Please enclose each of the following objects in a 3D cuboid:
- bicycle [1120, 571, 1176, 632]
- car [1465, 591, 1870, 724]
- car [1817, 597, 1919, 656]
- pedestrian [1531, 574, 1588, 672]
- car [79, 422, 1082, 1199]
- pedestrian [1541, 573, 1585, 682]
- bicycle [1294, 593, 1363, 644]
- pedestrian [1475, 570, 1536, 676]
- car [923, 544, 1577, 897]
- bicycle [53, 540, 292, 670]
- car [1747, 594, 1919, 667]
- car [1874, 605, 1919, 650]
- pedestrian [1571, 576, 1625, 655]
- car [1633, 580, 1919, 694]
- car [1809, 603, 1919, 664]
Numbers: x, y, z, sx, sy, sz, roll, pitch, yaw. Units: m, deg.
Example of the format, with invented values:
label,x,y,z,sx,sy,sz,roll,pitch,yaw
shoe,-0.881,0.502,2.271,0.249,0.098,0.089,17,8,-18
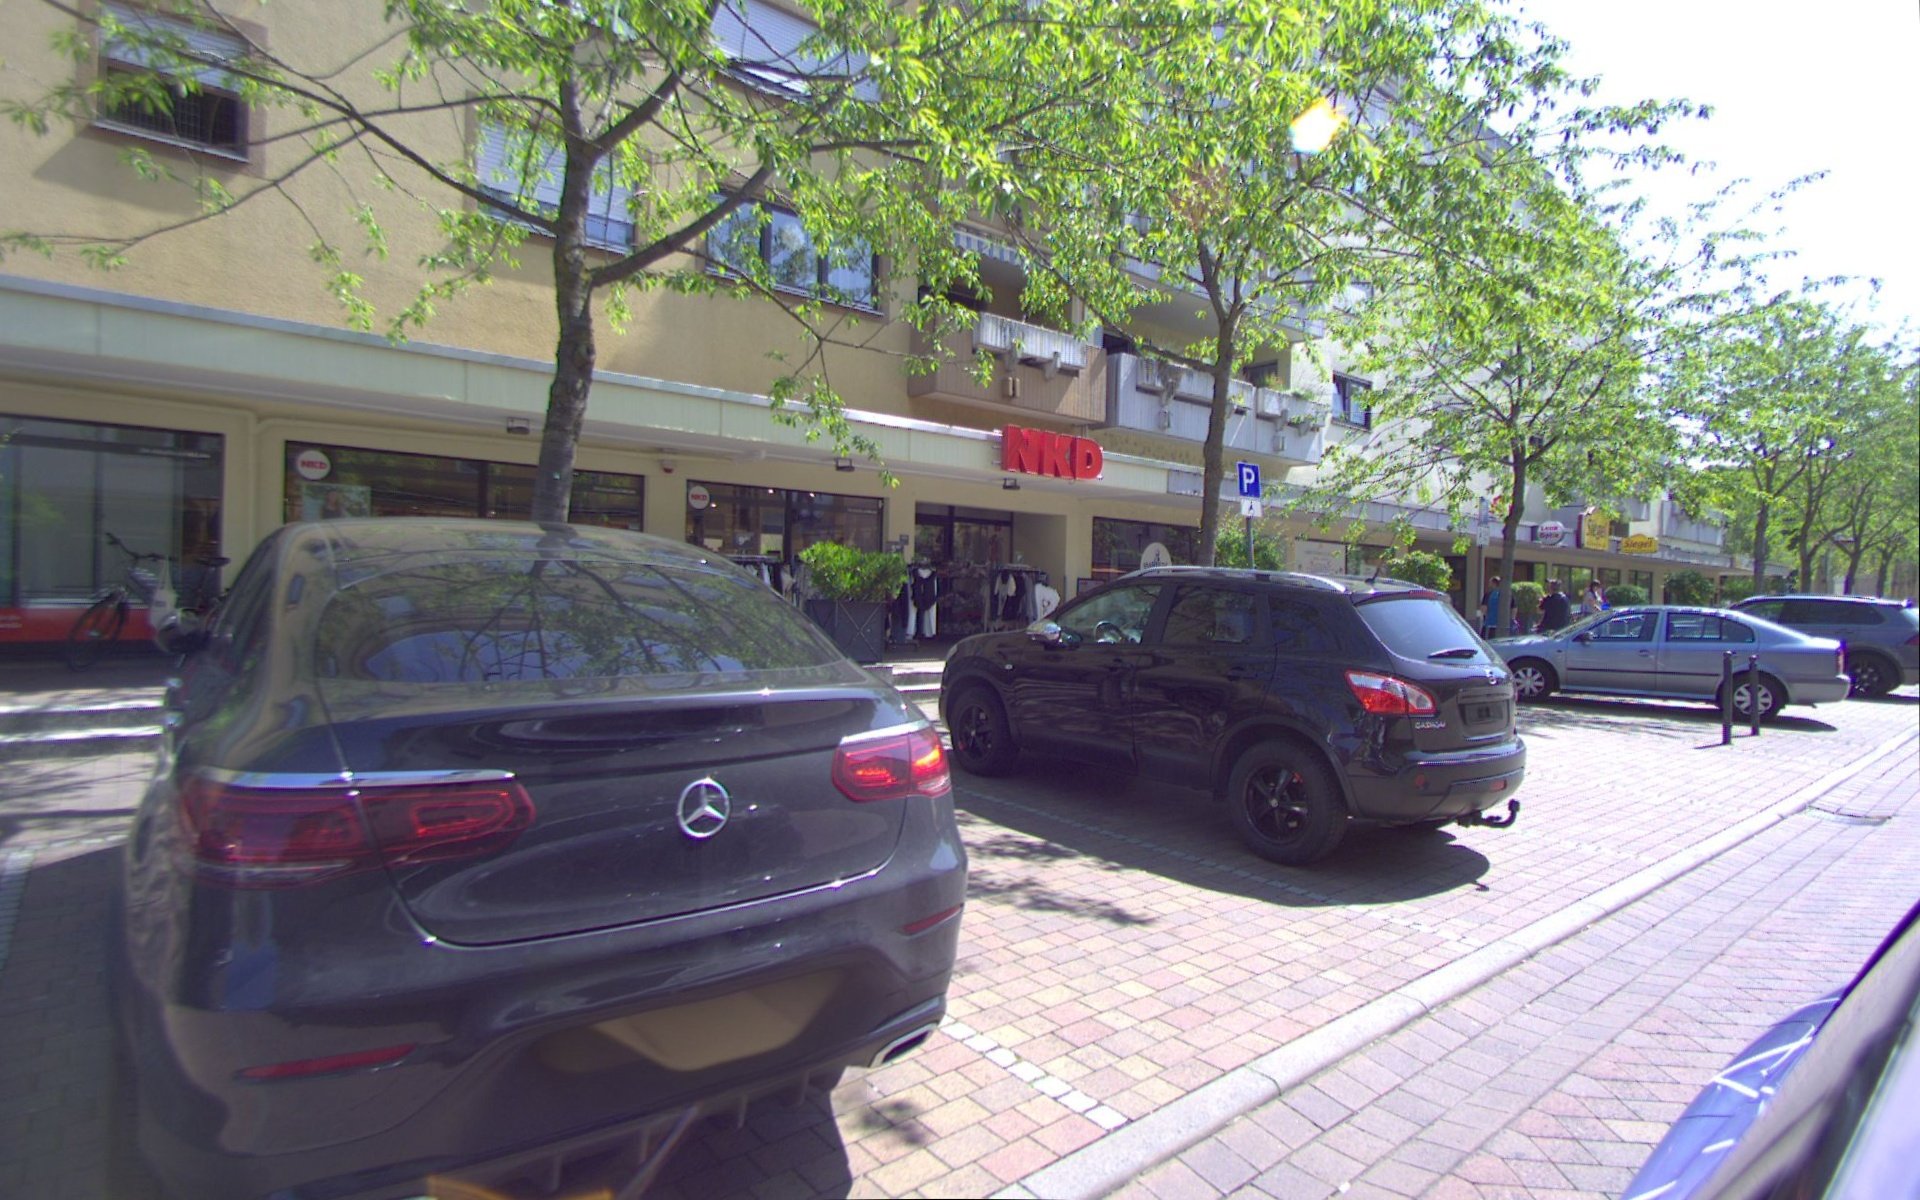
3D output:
label,x,y,z,sx,sy,sz,roll,pitch,yaw
bicycle,3.467,0.027,18.634,0.360,1.081,1.292,0,0,45
car,9.533,0.681,14.125,4.350,1.481,1.871,2,1,30
car,26.603,0.762,28.398,1.604,1.536,3.652,1,2,-39
pedestrian,10.872,0.407,18.374,0.635,1.752,0.617,0,0,-6
car,-1.819,0.476,3.688,1.816,1.608,4.521,1,2,-38
pedestrian,10.378,0.460,17.443,0.600,1.819,0.621,1,0,28
bicycle,8.328,0.400,22.848,1.833,1.095,0.642,0,0,-41
pedestrian,9.512,0.396,17.648,0.673,1.795,0.632,1,0,-6
car,1.632,0.491,6.899,1.651,1.631,4.038,0,3,-39
bicycle,-7.342,0.041,9.518,1.742,1.138,0.413,0,0,-39
car,22.723,0.750,25.217,1.774,1.562,4.586,1,2,-39
car,32.330,0.961,33.098,1.434,1.407,3.401,1,2,-39
pedestrian,14.886,0.351,23.632,0.853,1.803,0.760,1,0,-33
car,14.489,0.565,17.639,1.726,1.638,4.252,1,2,-41
car,24.894,0.904,26.515,1.585,1.449,3.800,1,2,-39
